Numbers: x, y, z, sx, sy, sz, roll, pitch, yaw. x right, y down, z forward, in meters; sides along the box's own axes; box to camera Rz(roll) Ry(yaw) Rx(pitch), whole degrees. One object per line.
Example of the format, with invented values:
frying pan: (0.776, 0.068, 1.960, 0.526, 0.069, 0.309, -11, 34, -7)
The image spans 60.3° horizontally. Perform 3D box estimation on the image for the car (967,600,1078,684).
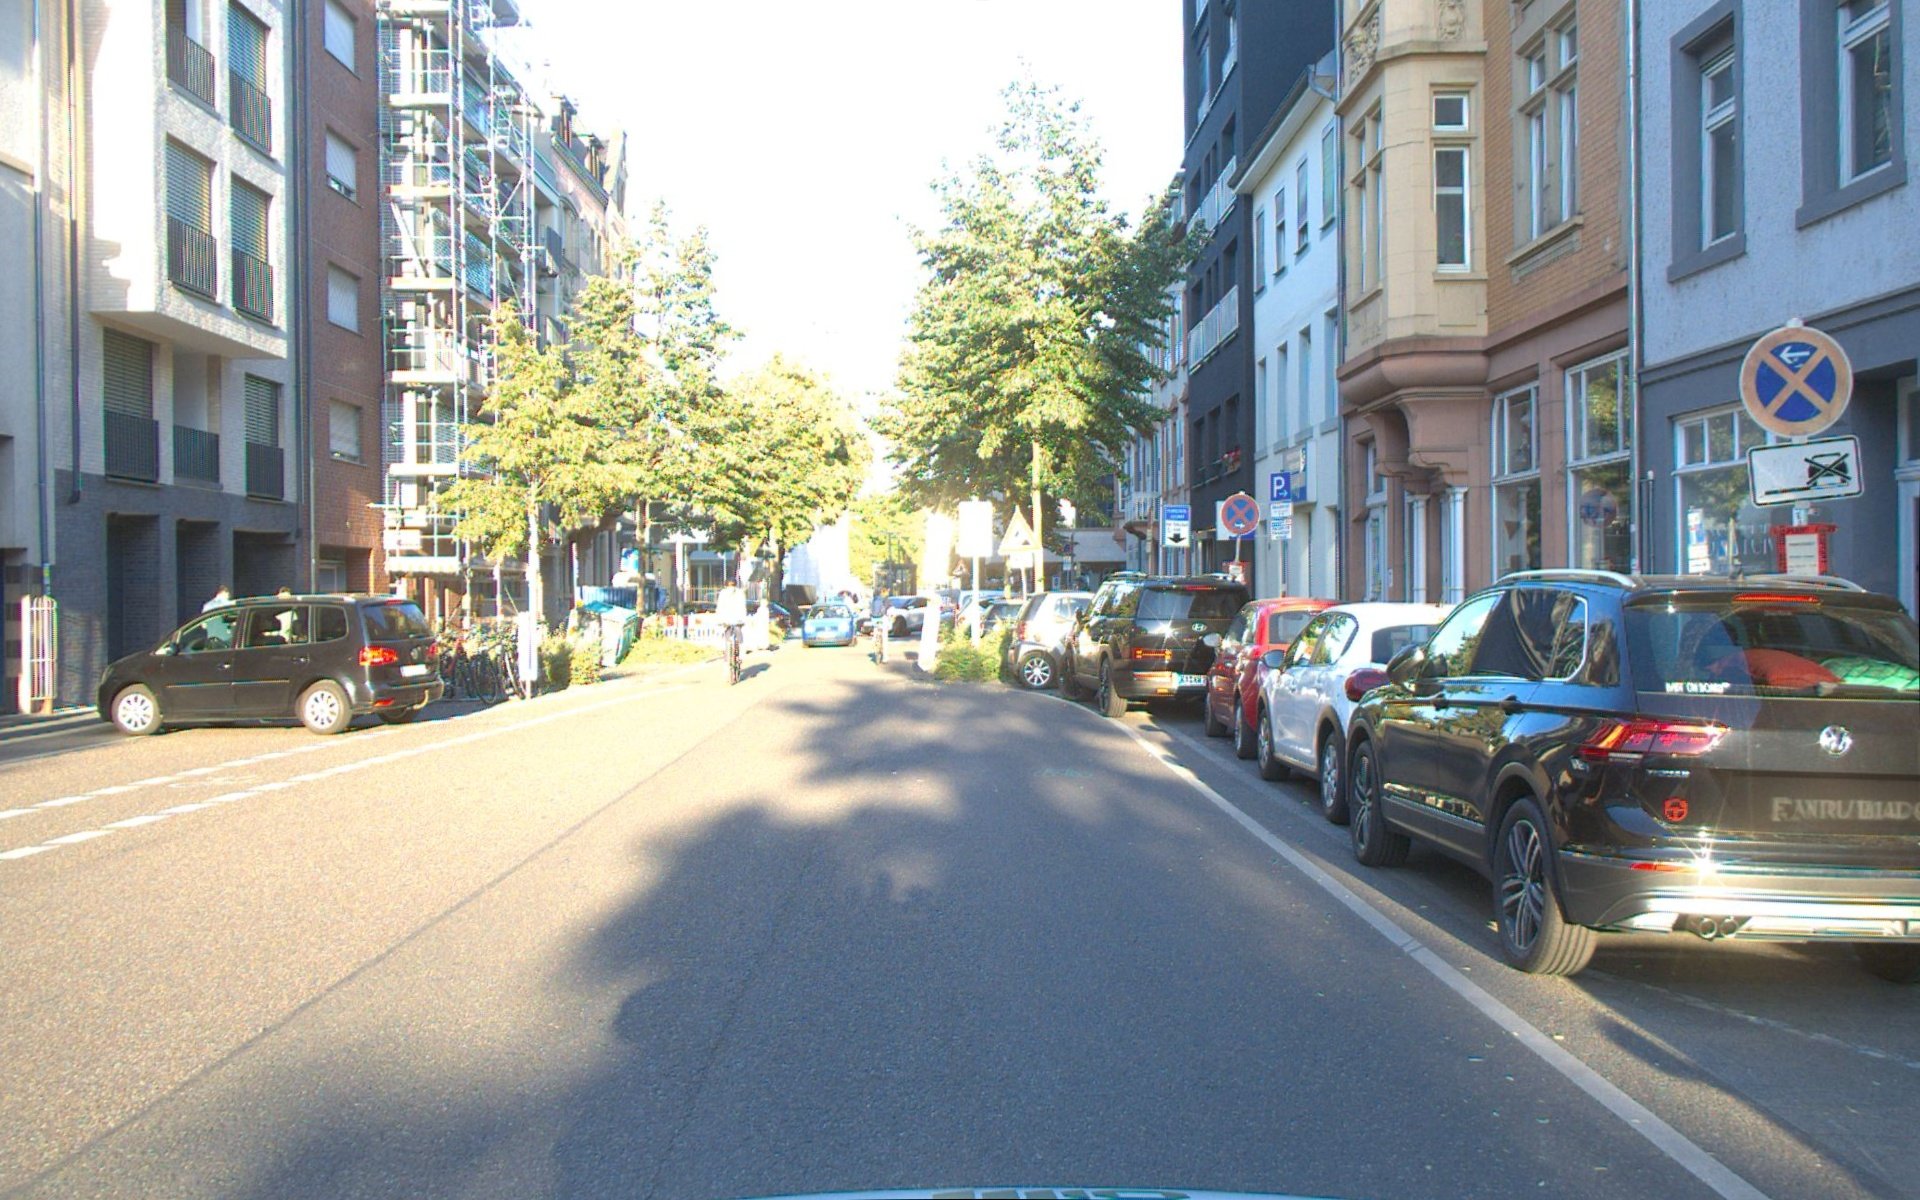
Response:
car: (1.290, 0.870, 35.909, 1.954, 1.697, 4.506, 1, 0, -4)

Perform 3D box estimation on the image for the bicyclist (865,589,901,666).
bicyclist: (-1.754, 0.626, 37.828, 0.765, 1.726, 1.006, -1, -1, -3)

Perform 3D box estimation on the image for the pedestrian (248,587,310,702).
pedestrian: (-10.598, 0.687, 25.768, 0.703, 1.771, 0.737, 1, -1, -9)

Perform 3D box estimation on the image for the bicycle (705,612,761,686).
bicycle: (-3.959, 0.829, 28.922, 0.765, 1.225, 2.019, -1, 0, -3)

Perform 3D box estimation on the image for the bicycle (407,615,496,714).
bicycle: (-7.814, 0.950, 25.561, 0.876, 1.420, 3.159, 0, 0, -9)

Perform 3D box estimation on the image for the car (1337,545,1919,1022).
car: (3.201, 0.676, 8.024, 1.775, 1.697, 4.205, 1, -1, 0)

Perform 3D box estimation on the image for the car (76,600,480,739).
car: (-8.557, 0.839, 20.888, 4.399, 1.630, 2.001, 0, -1, 14)

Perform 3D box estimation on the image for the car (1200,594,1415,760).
car: (3.420, 0.720, 16.789, 1.554, 1.509, 3.267, 1, -1, 1)

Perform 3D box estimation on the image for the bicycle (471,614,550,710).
bicycle: (-6.944, 0.916, 25.711, 0.829, 1.374, 3.180, -1, 0, -9)

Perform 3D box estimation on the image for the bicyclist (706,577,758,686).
bicyclist: (-3.964, 0.543, 28.852, 0.765, 1.861, 1.006, -1, -1, -3)

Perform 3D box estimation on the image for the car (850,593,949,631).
car: (-2.437, 0.488, 67.681, 1.851, 1.506, 4.447, 0, -1, 32)

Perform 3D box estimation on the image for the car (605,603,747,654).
car: (-8.754, 0.868, 51.193, 4.018, 1.491, 1.889, 1, -1, 1)

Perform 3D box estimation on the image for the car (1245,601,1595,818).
car: (3.342, 0.733, 12.730, 1.632, 1.402, 3.802, 1, 0, 0)

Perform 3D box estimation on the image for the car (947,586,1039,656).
car: (0.929, 0.619, 49.200, 2.221, 1.797, 4.506, 5, -1, -4)

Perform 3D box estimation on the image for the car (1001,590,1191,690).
car: (2.196, 0.643, 27.086, 2.910, 1.563, 1.432, 1, -1, -5)

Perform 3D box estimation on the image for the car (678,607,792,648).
car: (-8.527, 1.023, 62.895, 4.018, 1.491, 1.889, 1, -1, 1)

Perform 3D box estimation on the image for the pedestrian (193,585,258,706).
pedestrian: (-11.073, 0.682, 24.939, 0.703, 1.798, 0.693, 1, -1, -9)

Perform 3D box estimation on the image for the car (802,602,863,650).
car: (-4.159, 0.816, 54.327, 1.801, 1.466, 4.330, -1, 0, -2)

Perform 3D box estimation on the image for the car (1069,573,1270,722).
car: (2.581, 0.573, 21.421, 1.789, 1.725, 4.365, 1, 0, -4)

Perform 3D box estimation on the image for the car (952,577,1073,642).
car: (1.762, 0.303, 54.608, 3.903, 2.049, 2.001, -1, 0, 3)

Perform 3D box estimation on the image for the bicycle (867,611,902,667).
bicycle: (-1.729, 0.872, 37.865, 0.765, 1.225, 2.019, -1, 0, -3)
